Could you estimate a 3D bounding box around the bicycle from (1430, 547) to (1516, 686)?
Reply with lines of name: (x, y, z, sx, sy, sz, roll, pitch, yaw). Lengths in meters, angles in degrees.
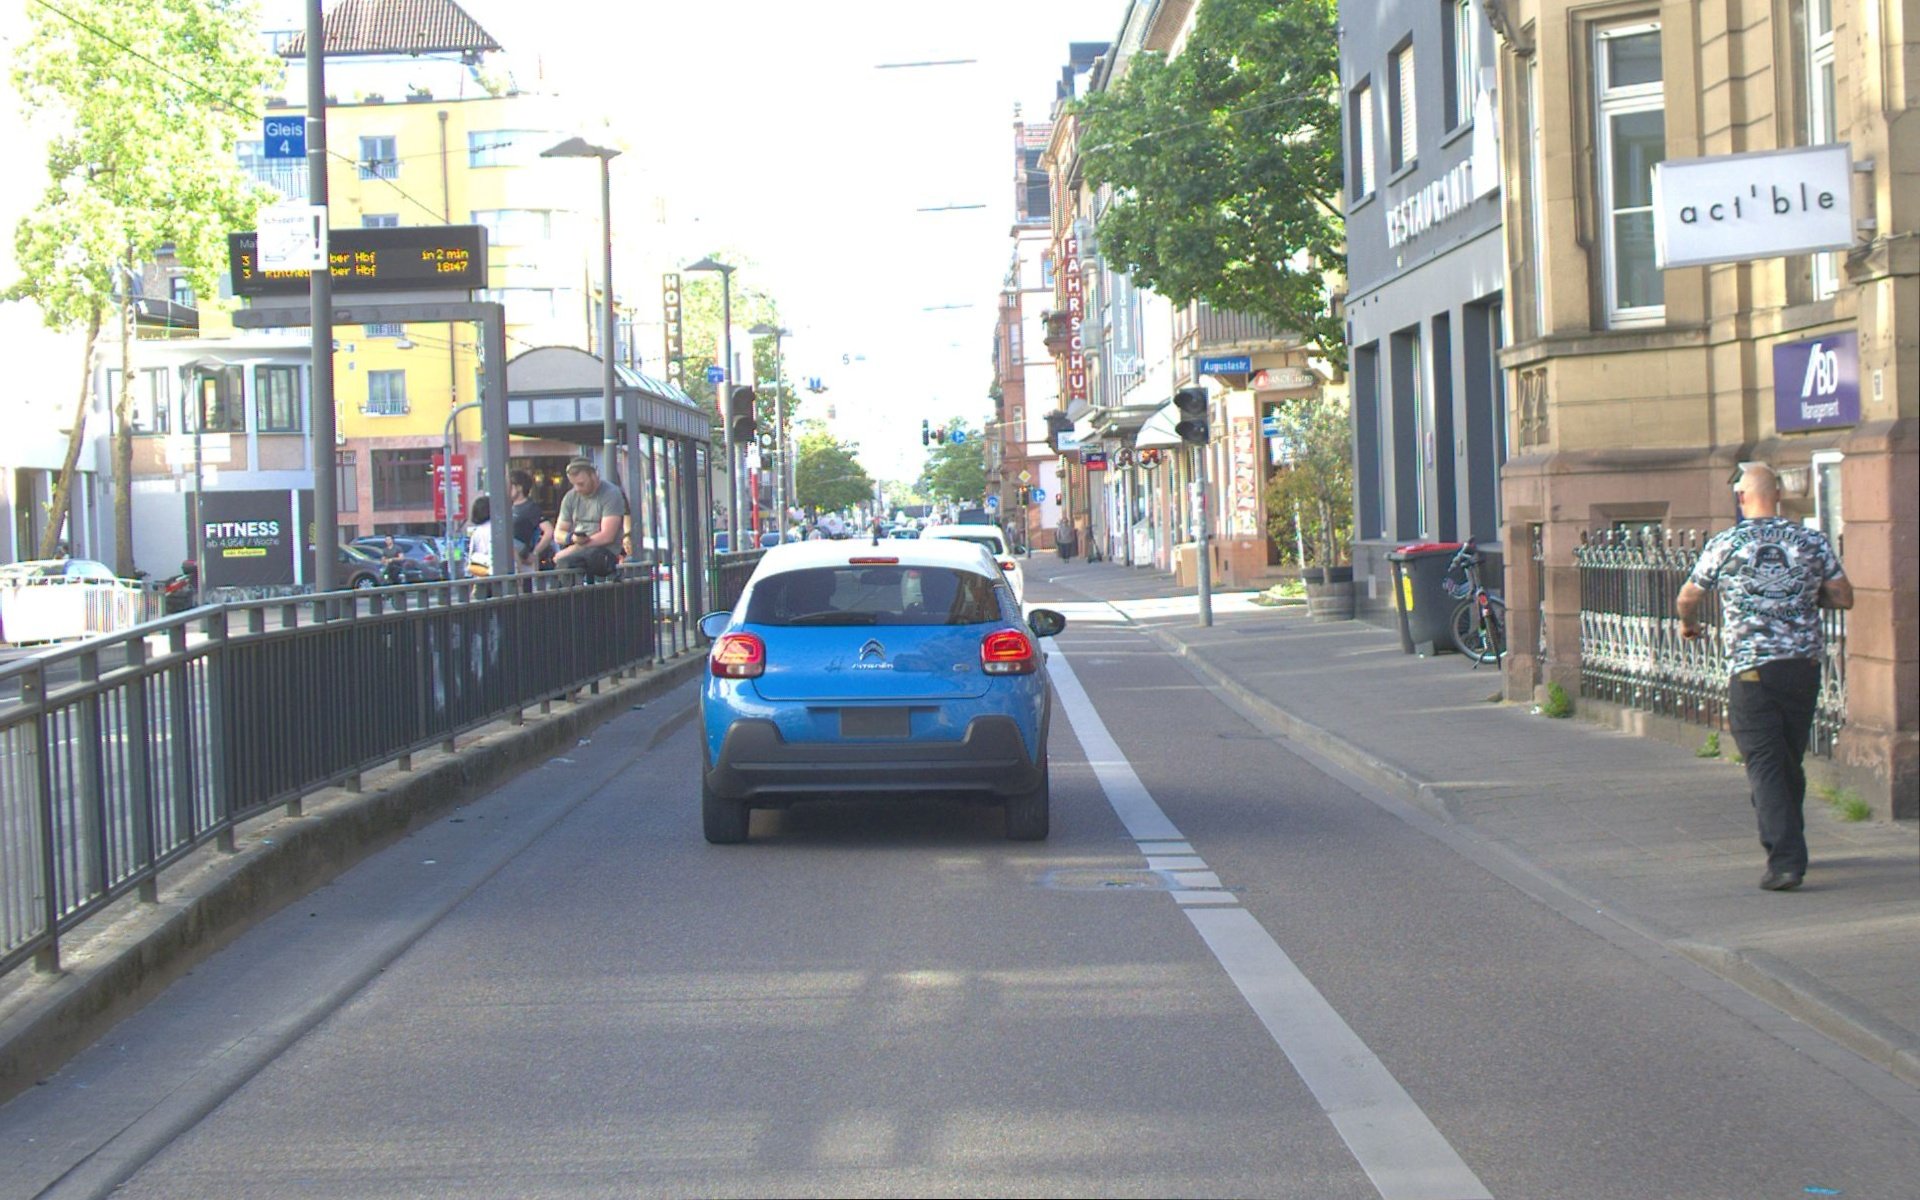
bicycle: (4.466, 0.127, 30.009, 0.459, 1.119, 1.773, -2, 2, 0)

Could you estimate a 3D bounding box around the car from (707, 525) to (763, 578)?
car: (-7.764, -1.685, 118.973, 1.752, 1.609, 4.829, -3, 2, -2)

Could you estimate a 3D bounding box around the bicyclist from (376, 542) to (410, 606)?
bicyclist: (-14.099, -0.641, 85.558, 0.672, 1.551, 0.778, -1, 2, 1)

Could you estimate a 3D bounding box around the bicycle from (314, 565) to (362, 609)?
bicycle: (-16.008, -0.336, 88.484, 0.679, 0.999, 2.686, -1, 3, 1)

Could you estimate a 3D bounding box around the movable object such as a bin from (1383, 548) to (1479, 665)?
movable object such as a bin: (4.508, 0.055, 32.951, 0.748, 1.032, 0.754, -5, 2, 1)

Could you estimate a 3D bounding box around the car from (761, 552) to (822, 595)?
car: (-6.589, -1.046, 134.975, 1.951, 1.481, 4.000, -2, 3, 3)

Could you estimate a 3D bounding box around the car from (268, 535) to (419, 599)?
car: (-17.422, -0.936, 97.283, 3.986, 1.668, 1.958, -1, 3, -3)

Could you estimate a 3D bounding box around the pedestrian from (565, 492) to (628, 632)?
pedestrian: (-4.110, -0.434, 38.908, 0.621, 1.553, 0.568, -1, 2, 1)

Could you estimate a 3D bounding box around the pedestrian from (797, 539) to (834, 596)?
pedestrian: (-4.238, -0.958, 100.763, 0.838, 1.648, 0.697, -2, 3, -28)

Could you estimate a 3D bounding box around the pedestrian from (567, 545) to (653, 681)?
pedestrian: (-3.384, 0.121, 33.284, 0.711, 1.268, 0.657, -1, 2, 3)

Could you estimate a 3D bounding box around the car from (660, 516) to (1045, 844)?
car: (-0.501, 0.327, 17.806, 1.781, 1.446, 3.654, 0, 2, 0)

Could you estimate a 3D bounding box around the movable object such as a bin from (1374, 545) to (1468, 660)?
movable object such as a bin: (4.514, 0.019, 33.719, 0.748, 1.032, 0.754, -5, 2, 1)

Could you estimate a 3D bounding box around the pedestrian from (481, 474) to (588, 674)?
pedestrian: (-3.858, -0.243, 31.151, 0.718, 1.771, 0.564, 0, 3, 36)

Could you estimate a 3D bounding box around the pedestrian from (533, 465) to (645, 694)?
pedestrian: (-2.787, -0.164, 25.897, 0.636, 1.692, 0.933, 1, 1, 7)

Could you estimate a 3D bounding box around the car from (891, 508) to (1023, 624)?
car: (-0.045, -0.561, 54.175, 1.993, 1.736, 4.000, 0, 1, 0)

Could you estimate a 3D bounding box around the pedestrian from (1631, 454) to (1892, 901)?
pedestrian: (3.299, 0.289, 14.240, 0.779, 1.743, 1.093, -1, 4, -3)

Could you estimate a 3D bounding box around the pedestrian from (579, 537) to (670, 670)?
pedestrian: (-3.329, 0.027, 34.170, 0.764, 1.268, 0.719, -1, 2, 3)

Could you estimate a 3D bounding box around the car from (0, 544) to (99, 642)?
car: (-15.531, -0.130, 56.678, 1.691, 1.416, 3.646, -1, 3, 1)

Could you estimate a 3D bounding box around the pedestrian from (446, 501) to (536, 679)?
pedestrian: (-4.180, -0.098, 30.660, 0.586, 1.556, 0.469, 0, 3, 36)

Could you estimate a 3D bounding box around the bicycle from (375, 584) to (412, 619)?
bicycle: (-14.097, 0.030, 85.595, 0.566, 0.755, 1.938, -1, 3, 1)
